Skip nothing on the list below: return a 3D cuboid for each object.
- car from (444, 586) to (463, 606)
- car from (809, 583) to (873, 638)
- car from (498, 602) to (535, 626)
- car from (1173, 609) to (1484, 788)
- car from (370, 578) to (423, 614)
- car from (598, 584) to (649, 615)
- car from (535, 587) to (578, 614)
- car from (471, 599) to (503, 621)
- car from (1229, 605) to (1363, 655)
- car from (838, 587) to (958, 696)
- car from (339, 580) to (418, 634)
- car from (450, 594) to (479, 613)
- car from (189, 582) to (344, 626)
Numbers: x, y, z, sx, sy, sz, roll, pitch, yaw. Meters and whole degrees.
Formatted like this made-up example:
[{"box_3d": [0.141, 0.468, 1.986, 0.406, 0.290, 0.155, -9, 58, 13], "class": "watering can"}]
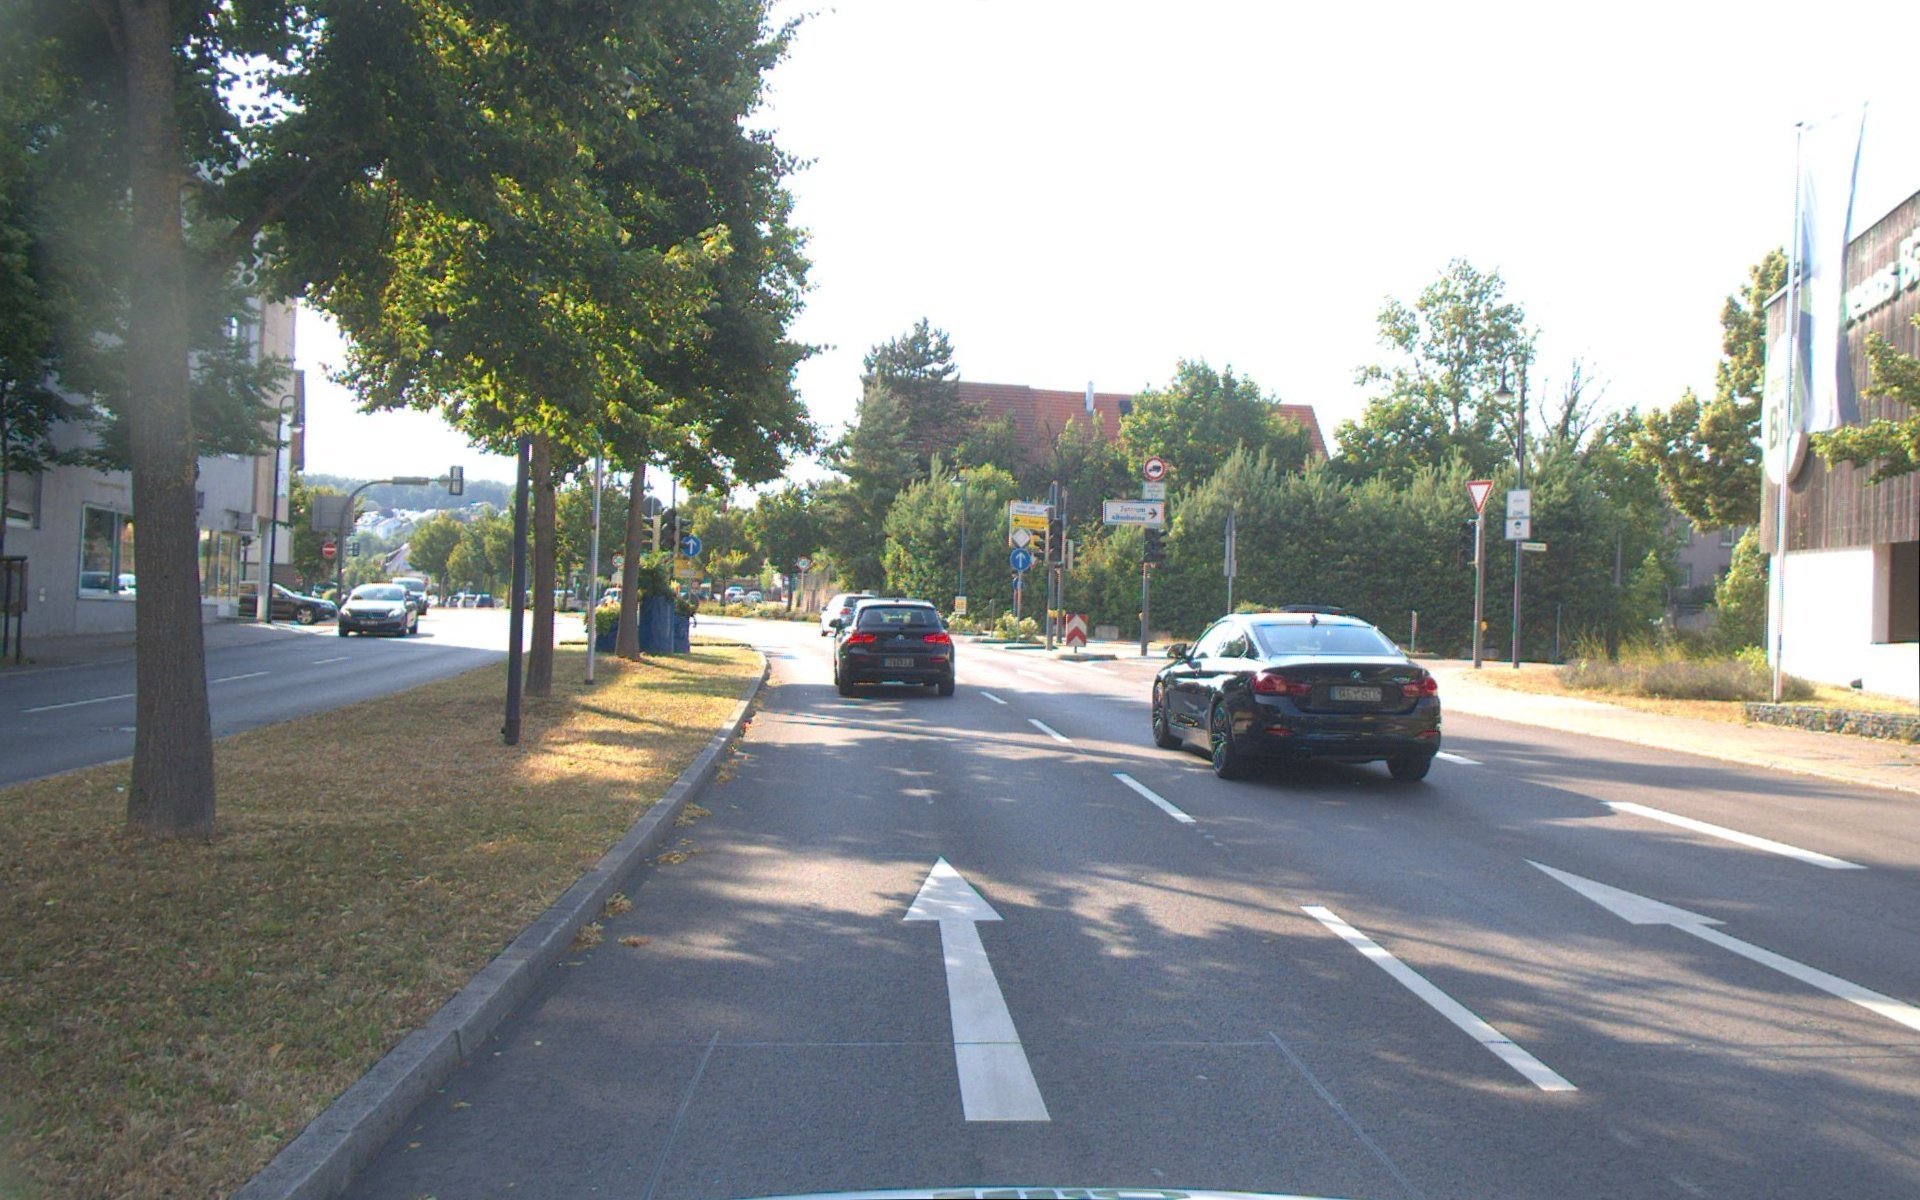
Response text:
[{"box_3d": [-53.884, -0.457, 175.985, 1.746, 2.049, 3.978, 1, 0, -19], "class": "car"}, {"box_3d": [-4.151, 0.360, 57.111, 1.889, 1.800, 4.446, 1, 0, -8], "class": "car"}, {"box_3d": [-34.857, 1.085, 129.820, 2.187, 1.800, 4.422, 1, 0, -23], "class": "car"}, {"box_3d": [3.182, 0.786, 15.189, 1.881, 1.388, 4.352, 1, 0, 0], "class": "car"}, {"box_3d": [-28.727, -0.190, 84.304, 1.831, 1.767, 4.877, 1, 0, -28], "class": "car"}, {"box_3d": [-20.815, -0.039, 102.187, 2.187, 1.800, 4.422, 1, 0, -23], "class": "car"}, {"box_3d": [-27.714, 0.002, 113.490, 2.187, 1.800, 4.422, 1, 0, -23], "class": "car"}, {"box_3d": [-42.340, 0.882, 147.986, 2.187, 1.891, 4.422, 1, 0, -23], "class": "car"}, {"box_3d": [11.599, 1.020, 57.092, 4.176, 1.594, 1.790, 1, 0, 29], "class": "car"}, {"box_3d": [-0.905, 0.601, 25.931, 1.686, 1.516, 4.352, 1, 0, 0], "class": "car"}, {"box_3d": [-17.112, 0.200, 48.861, 1.822, 1.512, 4.976, 1, 0, -15], "class": "car"}, {"box_3d": [-49.223, 0.372, 164.255, 2.187, 1.800, 4.422, 1, 0, -23], "class": "car"}, {"box_3d": [-24.092, 0.158, 57.617, 4.782, 1.462, 1.908, 1, 0, -18], "class": "car"}]
